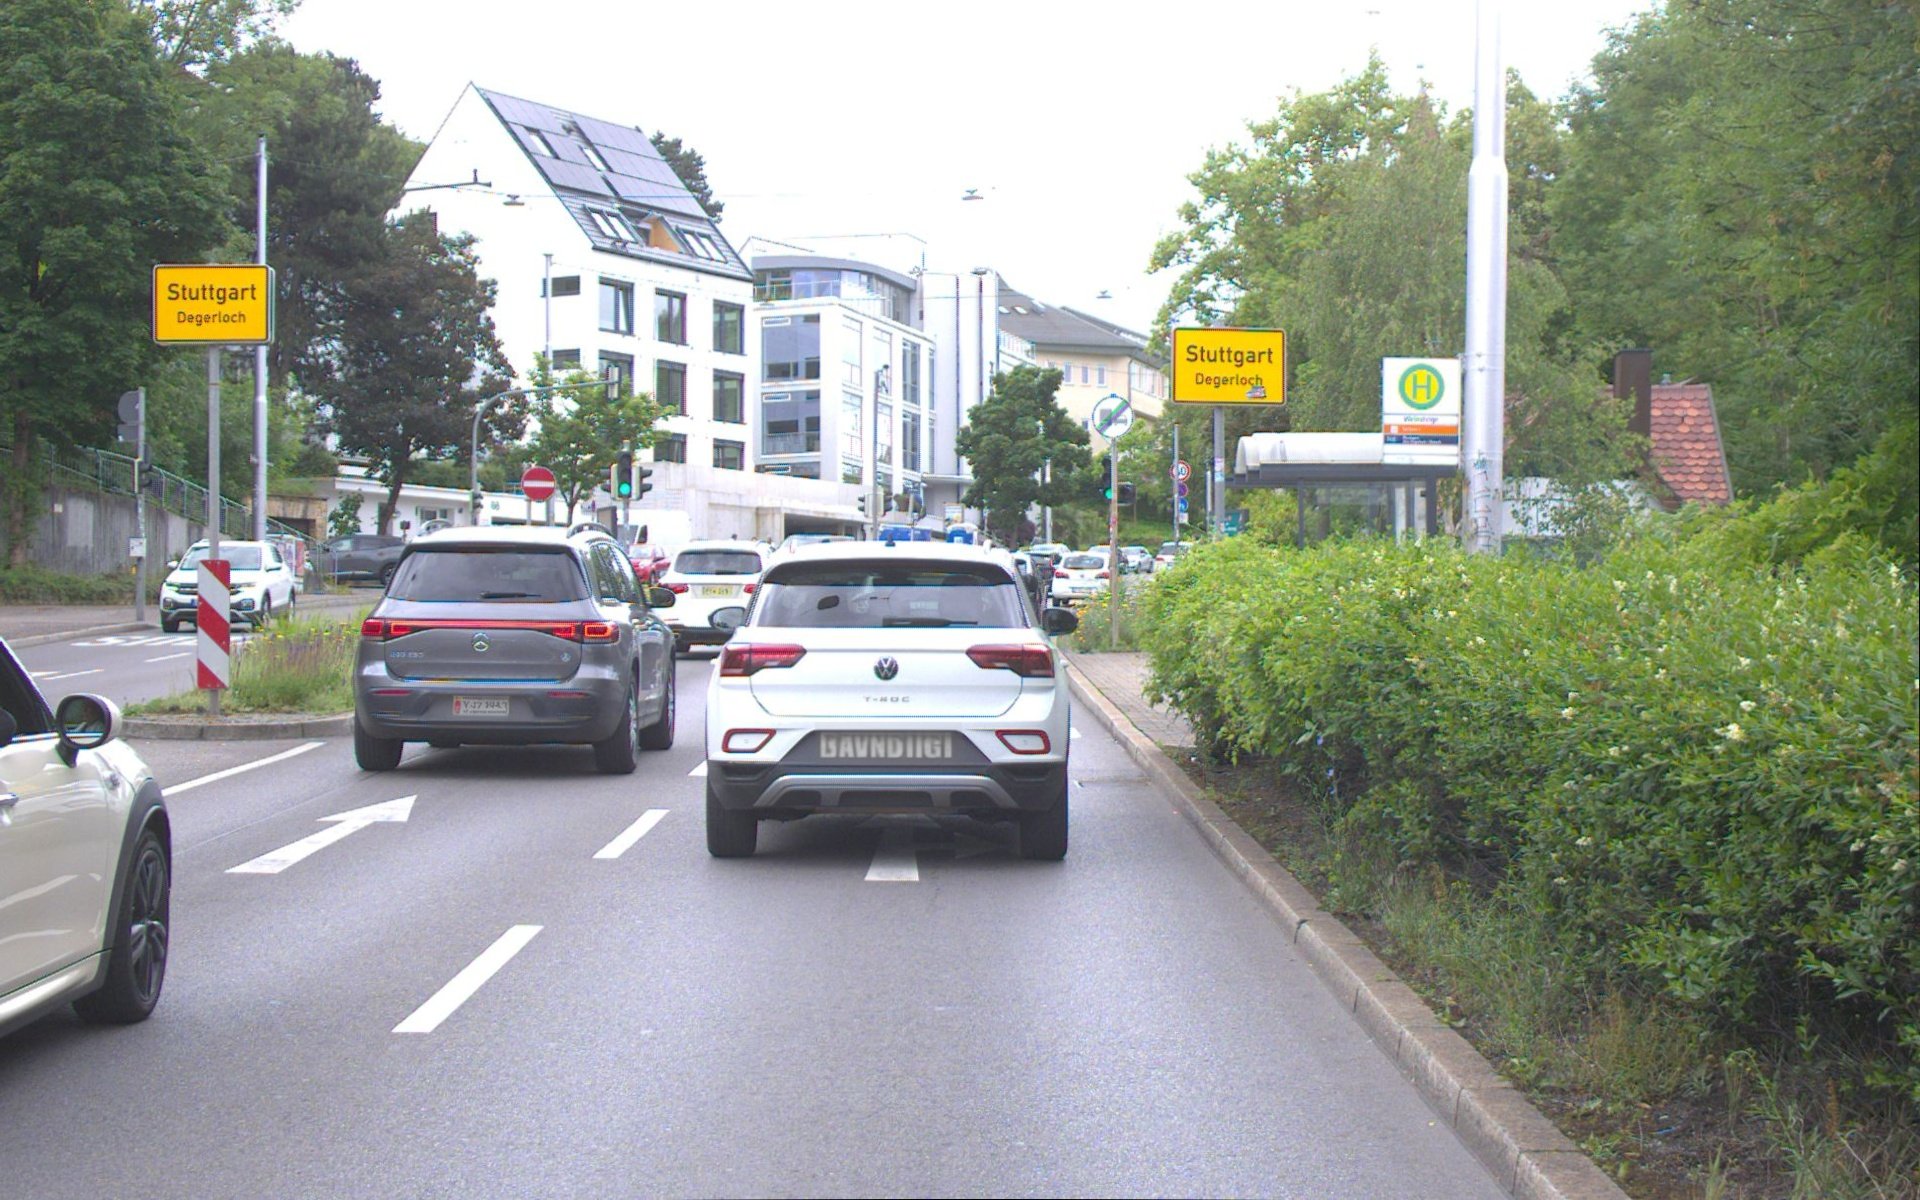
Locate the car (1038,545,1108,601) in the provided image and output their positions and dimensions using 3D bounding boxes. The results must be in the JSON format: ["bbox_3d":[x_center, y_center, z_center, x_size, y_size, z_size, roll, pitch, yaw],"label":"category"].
[{"bbox_3d":[3.119,-0.746,93.989,1.858,1.495,4.055,0,1,3],"label":"car"}]

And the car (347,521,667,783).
[{"bbox_3d":[-3.074,0.296,24.173,1.812,1.646,4.637,0,1,-2],"label":"car"}]

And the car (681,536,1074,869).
[{"bbox_3d":[-0.429,0.449,17.818,1.811,1.534,3.690,0,1,-1],"label":"car"}]

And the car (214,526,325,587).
[{"bbox_3d":[-19.146,-1.211,95.301,2.701,1.515,1.564,3,0,-23],"label":"car"}]

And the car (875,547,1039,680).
[{"bbox_3d":[-0.082,0.123,41.122,1.858,1.495,4.056,0,1,-1],"label":"car"}]

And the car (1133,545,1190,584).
[{"bbox_3d":[7.912,-1.401,134.863,1.858,1.495,4.054,0,1,9],"label":"car"}]

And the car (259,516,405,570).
[{"bbox_3d":[-18.239,-1.663,99.968,4.118,1.534,1.599,0,1,-9],"label":"car"}]

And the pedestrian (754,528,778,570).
[{"bbox_3d":[-7.687,-2.026,136.327,0.673,1.634,0.672,2,1,-32],"label":"pedestrian"}]

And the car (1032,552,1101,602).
[{"bbox_3d":[3.310,-0.712,106.112,1.858,1.495,4.055,0,1,6],"label":"car"}]

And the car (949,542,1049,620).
[{"bbox_3d":[0.851,-0.413,72.283,1.873,1.496,4.555,3,1,2],"label":"car"}]

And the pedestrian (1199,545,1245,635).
[{"bbox_3d":[4.967,-0.188,65.104,0.694,1.683,0.619,-1,0,22],"label":"pedestrian"}]

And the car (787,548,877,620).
[{"bbox_3d":[-2.722,-0.358,73.840,1.858,1.495,4.056,0,1,-1],"label":"car"}]

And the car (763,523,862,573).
[{"bbox_3d":[-5.781,-2.057,135.690,1.984,1.960,5.213,1,1,21],"label":"car"}]

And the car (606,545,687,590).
[{"bbox_3d":[-10.517,-1.099,115.424,1.622,1.460,3.925,0,1,12],"label":"car"}]

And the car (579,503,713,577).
[{"bbox_3d":[-11.180,-2.156,123.099,2.233,2.559,7.416,0,1,16],"label":"car"}]

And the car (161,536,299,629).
[{"bbox_3d":[-12.613,-0.320,59.590,1.728,1.535,4.044,1,1,-3],"label":"car"}]

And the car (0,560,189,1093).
[{"bbox_3d":[-3.336,0.596,9.464,1.628,1.388,3.566,0,1,0],"label":"car"}]

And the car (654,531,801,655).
[{"bbox_3d":[-3.227,-0.124,48.437,1.858,1.646,4.636,0,1,-1],"label":"car"}]

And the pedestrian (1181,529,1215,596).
[{"bbox_3d":[6.546,-1.040,94.642,0.693,1.827,0.620,1,1,-23],"label":"pedestrian"}]
